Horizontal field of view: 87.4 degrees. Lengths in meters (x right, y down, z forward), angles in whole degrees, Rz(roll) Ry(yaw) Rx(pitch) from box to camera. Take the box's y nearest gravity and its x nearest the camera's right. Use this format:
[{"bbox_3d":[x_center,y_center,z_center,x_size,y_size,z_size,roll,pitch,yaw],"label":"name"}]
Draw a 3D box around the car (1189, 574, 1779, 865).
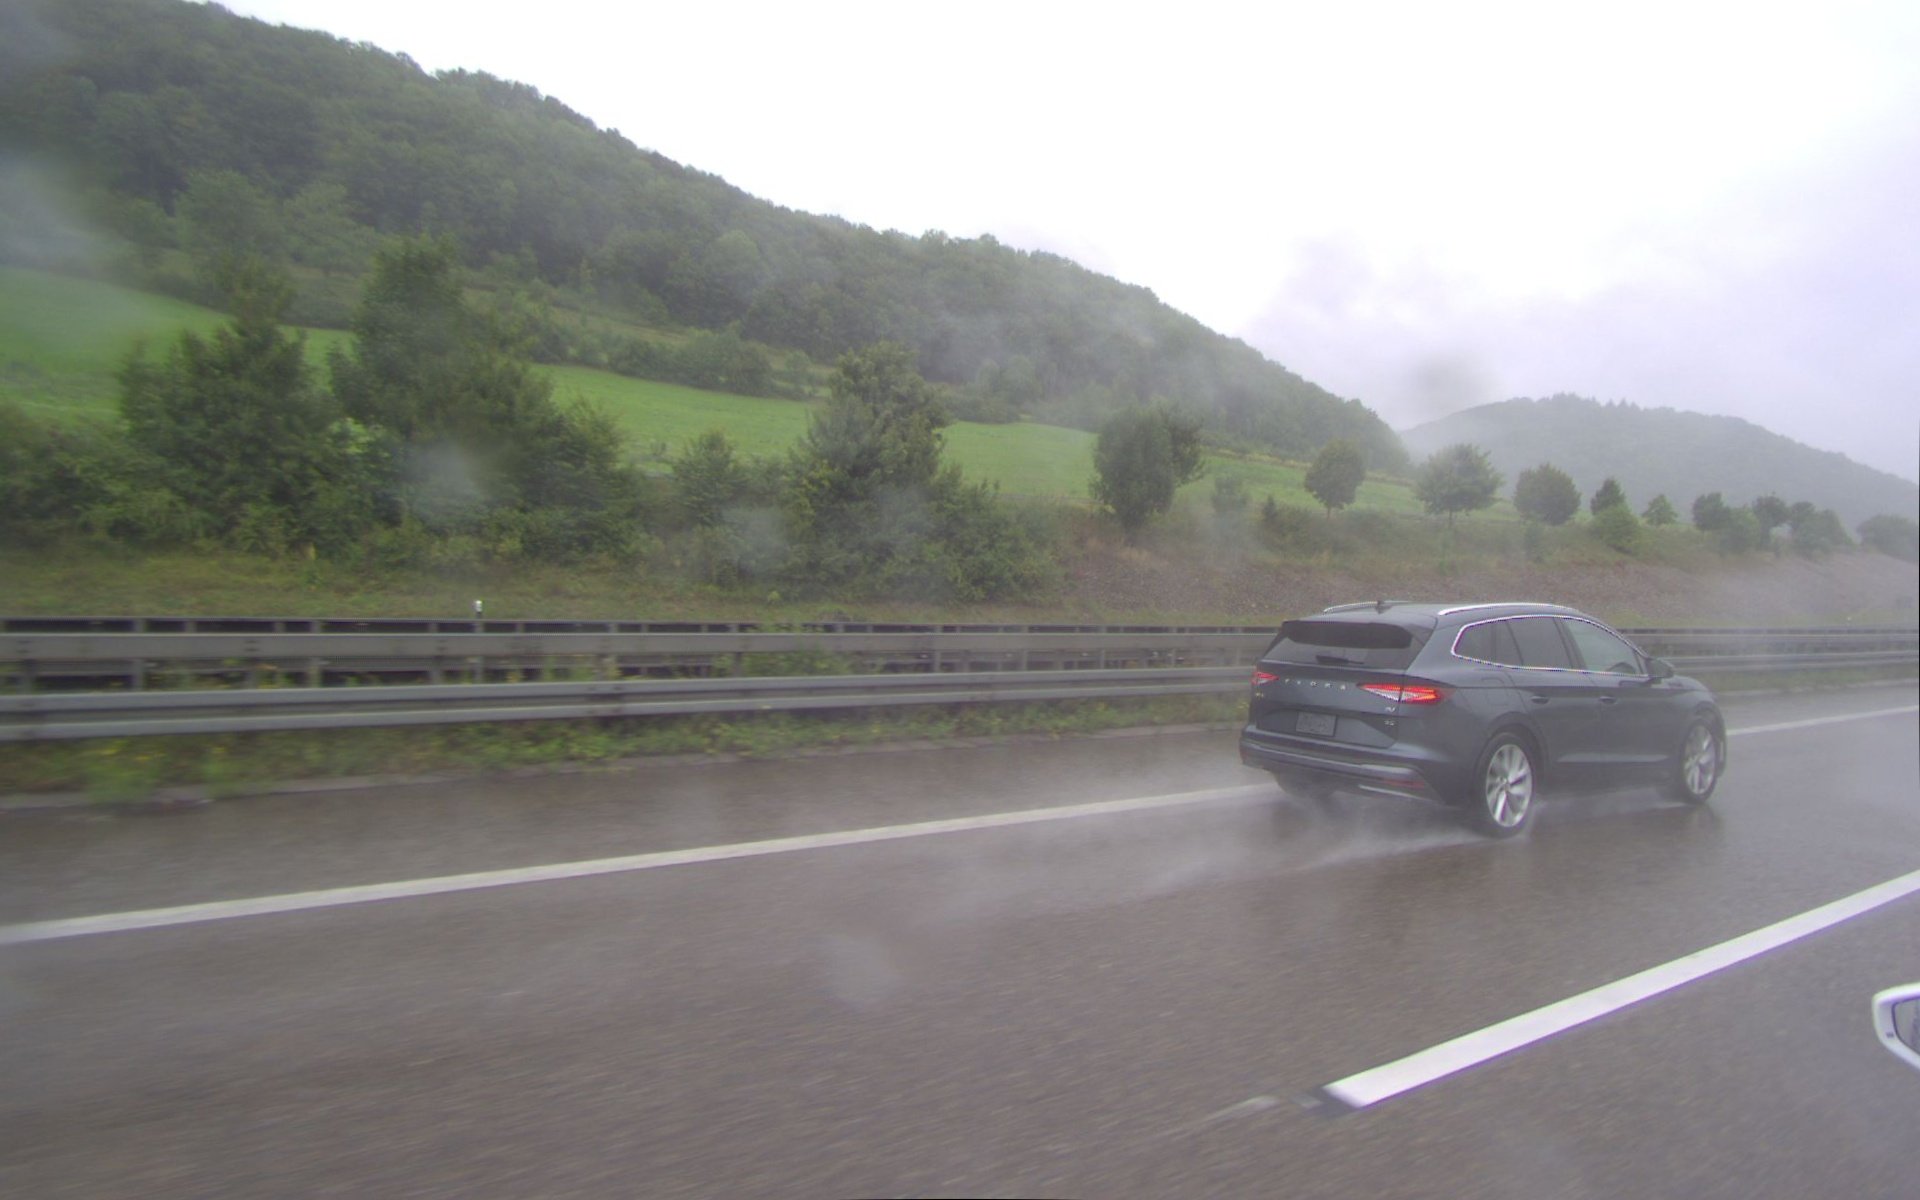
[{"bbox_3d":[4.310,0.764,8.028,4.853,1.705,1.983,1,-1,-31],"label":"car"}]
